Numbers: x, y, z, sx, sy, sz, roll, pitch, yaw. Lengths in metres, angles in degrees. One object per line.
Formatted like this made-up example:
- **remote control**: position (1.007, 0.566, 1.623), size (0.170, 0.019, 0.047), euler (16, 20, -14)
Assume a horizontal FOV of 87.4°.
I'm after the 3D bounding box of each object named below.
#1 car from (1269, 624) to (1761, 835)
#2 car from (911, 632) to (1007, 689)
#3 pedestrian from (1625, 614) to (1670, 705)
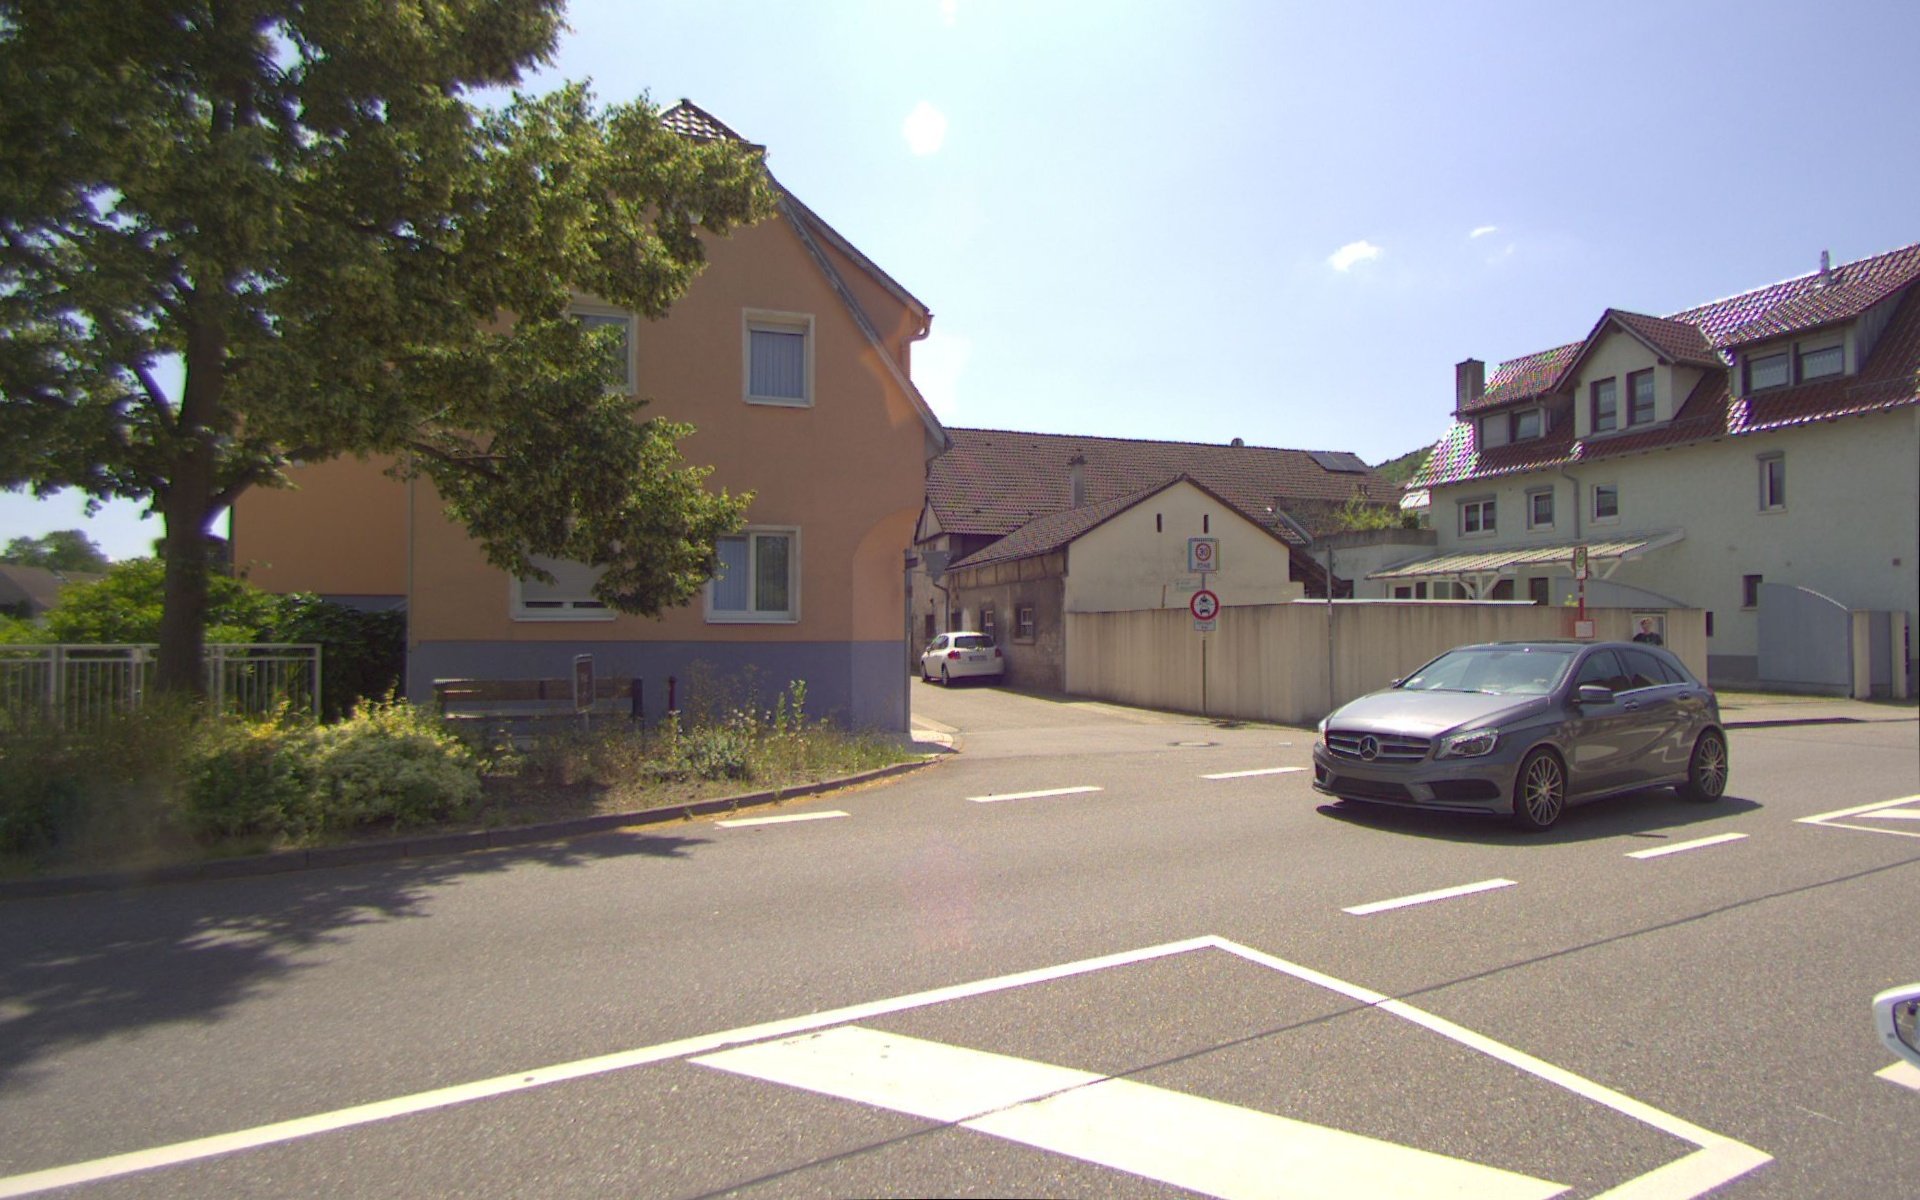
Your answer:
- **car**: position (4.910, 0.998, 8.809), size (4.166, 1.461, 1.855), euler (2, -3, -29)
- **car**: position (-0.109, 1.765, 30.302), size (1.780, 1.483, 3.985), euler (-1, -1, -17)
- **pedestrian**: position (13.603, 1.171, 19.882), size (0.547, 1.788, 0.434), euler (0, -2, -10)
